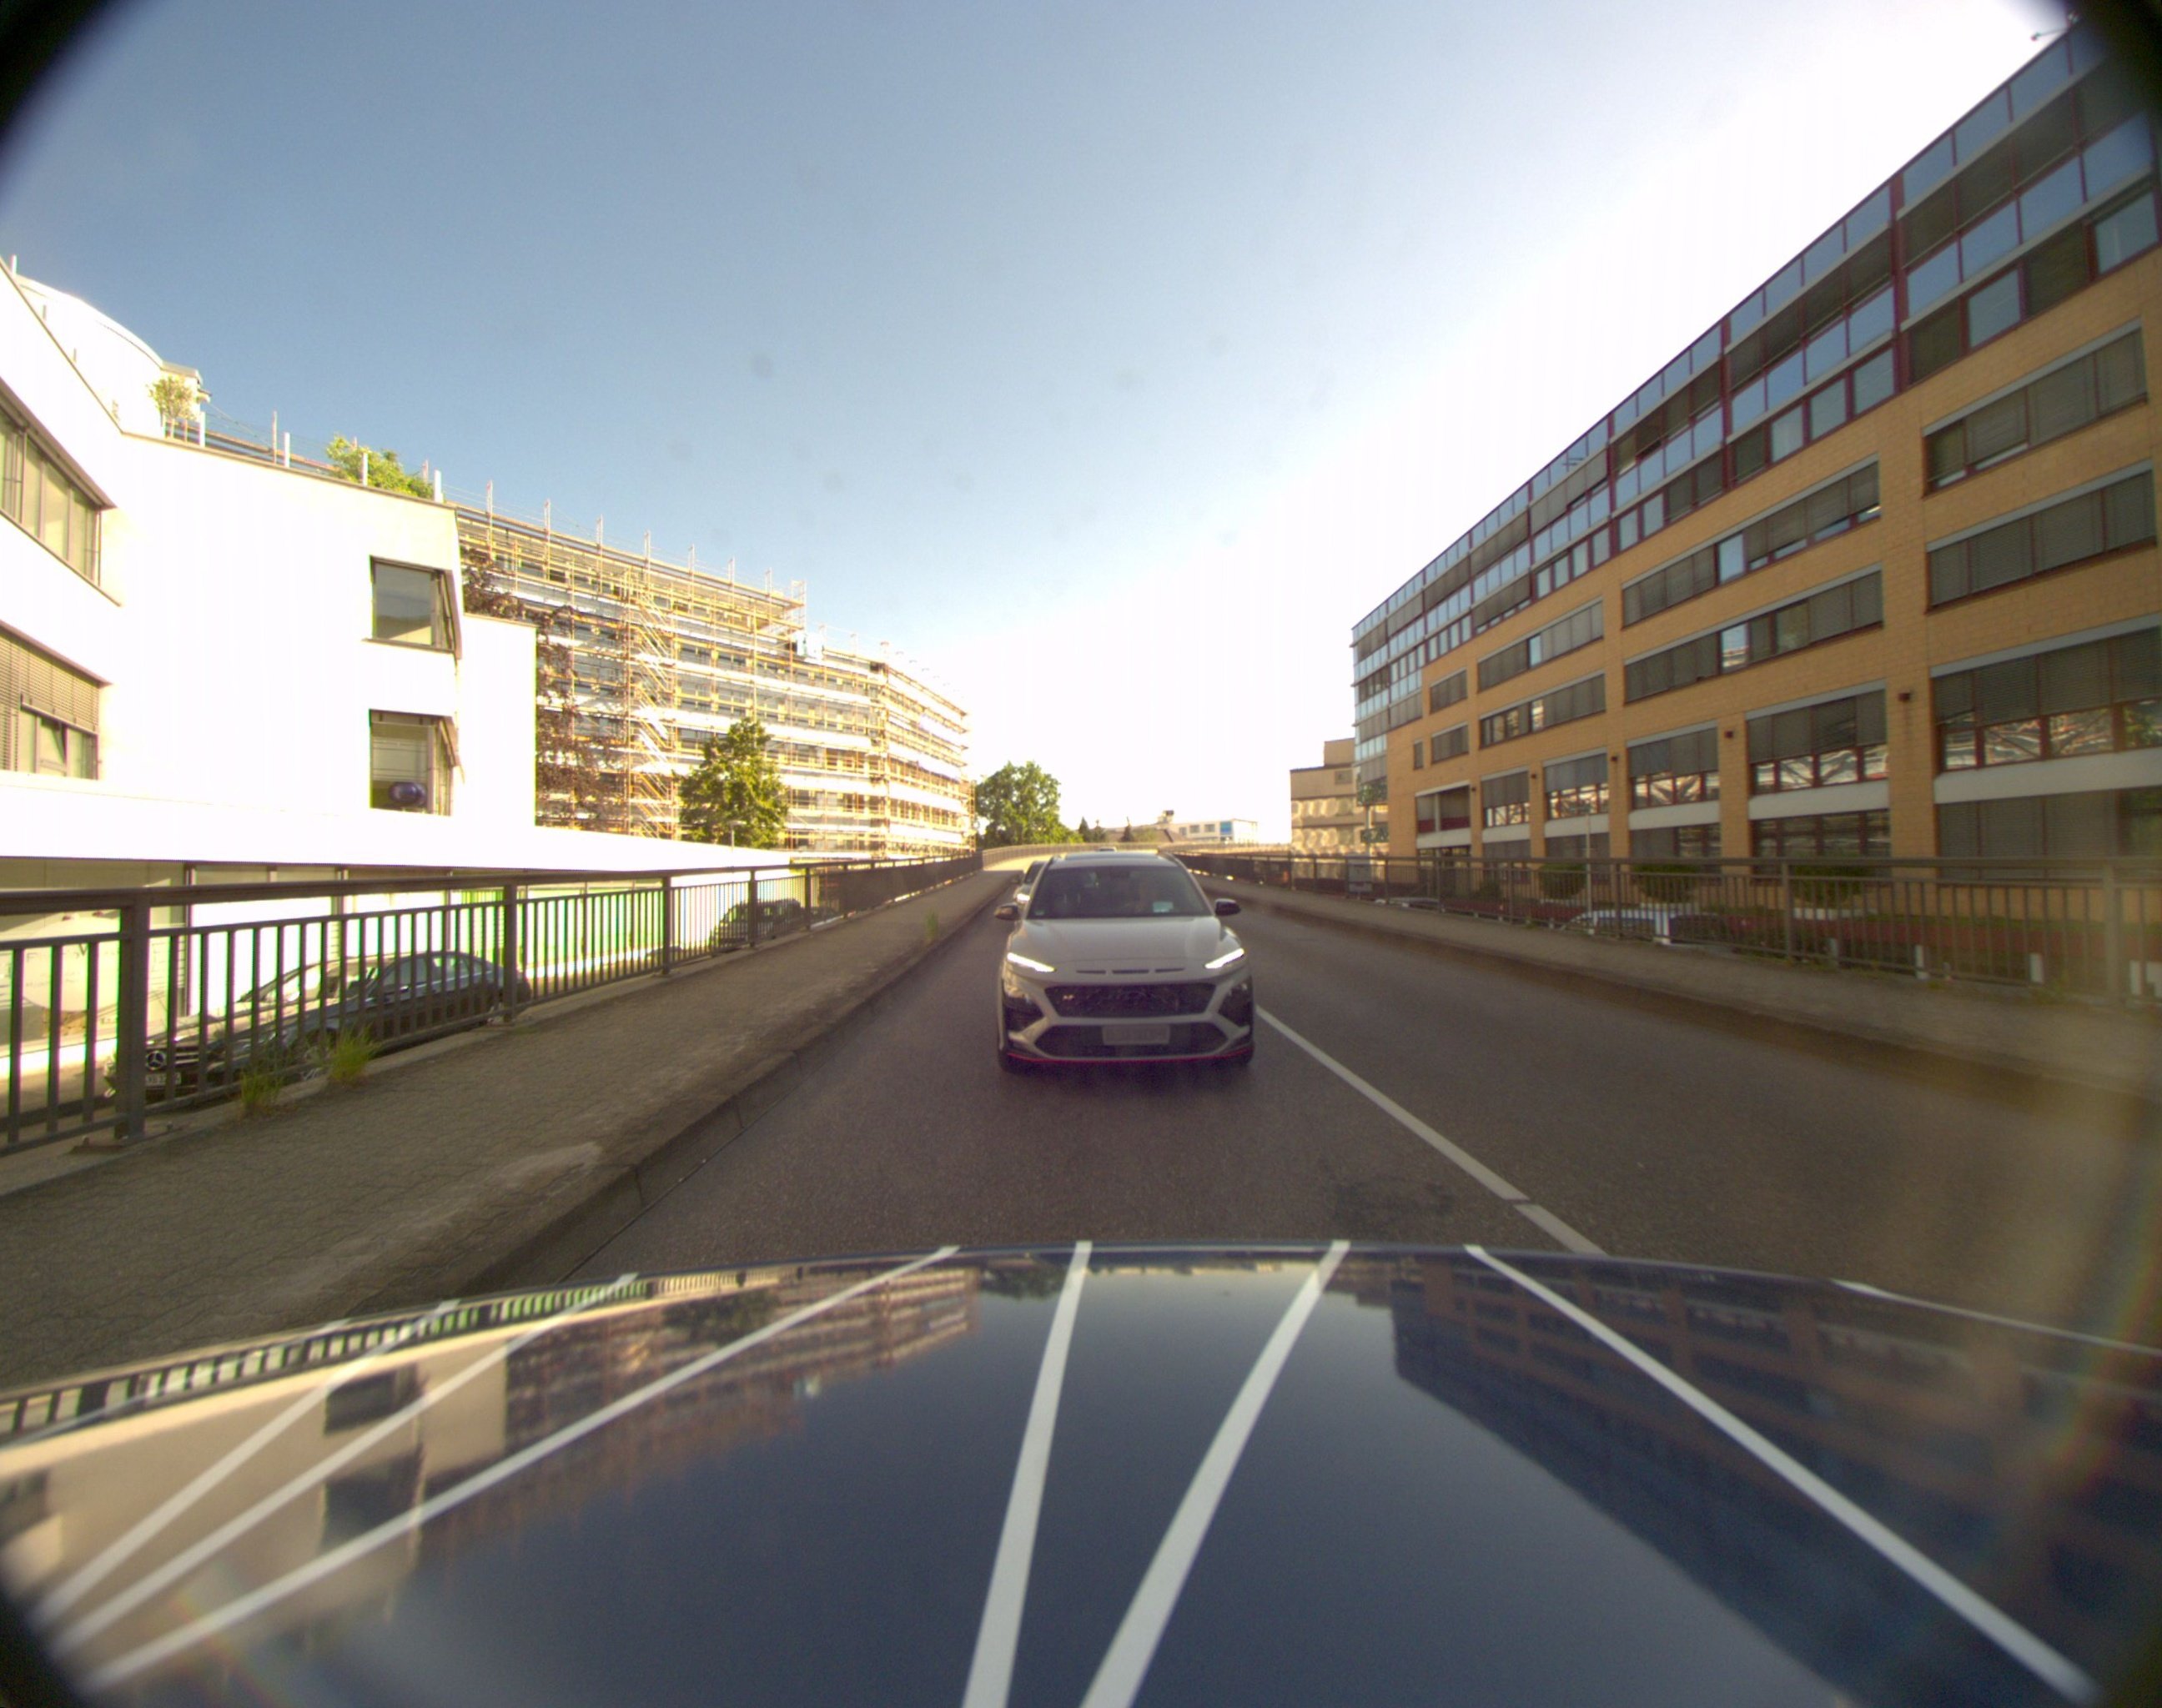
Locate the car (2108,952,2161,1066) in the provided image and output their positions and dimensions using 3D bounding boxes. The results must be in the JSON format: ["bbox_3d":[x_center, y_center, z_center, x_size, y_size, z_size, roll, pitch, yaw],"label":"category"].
[{"bbox_3d":[13.232,1.789,7.289,1.580,1.261,3.809,0,-1,-2],"label":"car"}]

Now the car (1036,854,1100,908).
[{"bbox_3d":[-0.448,0.856,26.055,1.952,1.456,3.997,3,3,-1],"label":"car"}]

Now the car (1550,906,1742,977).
[{"bbox_3d":[12.921,1.960,17.706,1.580,1.261,3.809,0,-1,-2],"label":"car"}]

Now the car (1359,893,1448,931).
[{"bbox_3d":[12.442,2.212,29.608,1.766,1.261,3.809,0,-1,-2],"label":"car"}]

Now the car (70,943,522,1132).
[{"bbox_3d":[-9.673,2.150,9.940,1.726,1.513,4.000,-2,-1,0],"label":"car"}]

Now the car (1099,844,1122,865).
[{"bbox_3d":[2.391,0.008,62.522,1.808,1.614,3.999,-1,1,0],"label":"car"}]

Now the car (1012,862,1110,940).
[{"bbox_3d":[-0.452,0.945,16.886,1.902,1.433,4.126,0,0,-2],"label":"car"}]

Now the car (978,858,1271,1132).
[{"bbox_3d":[0.267,0.876,6.562,1.749,1.637,4.000,0,-1,0],"label":"car"}]

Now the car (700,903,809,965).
[{"bbox_3d":[-10.146,2.452,23.946,1.726,1.513,4.000,-2,-1,-1],"label":"car"}]

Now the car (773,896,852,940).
[{"bbox_3d":[-10.394,2.457,29.731,1.726,1.383,4.000,-2,-1,-1],"label":"car"}]
